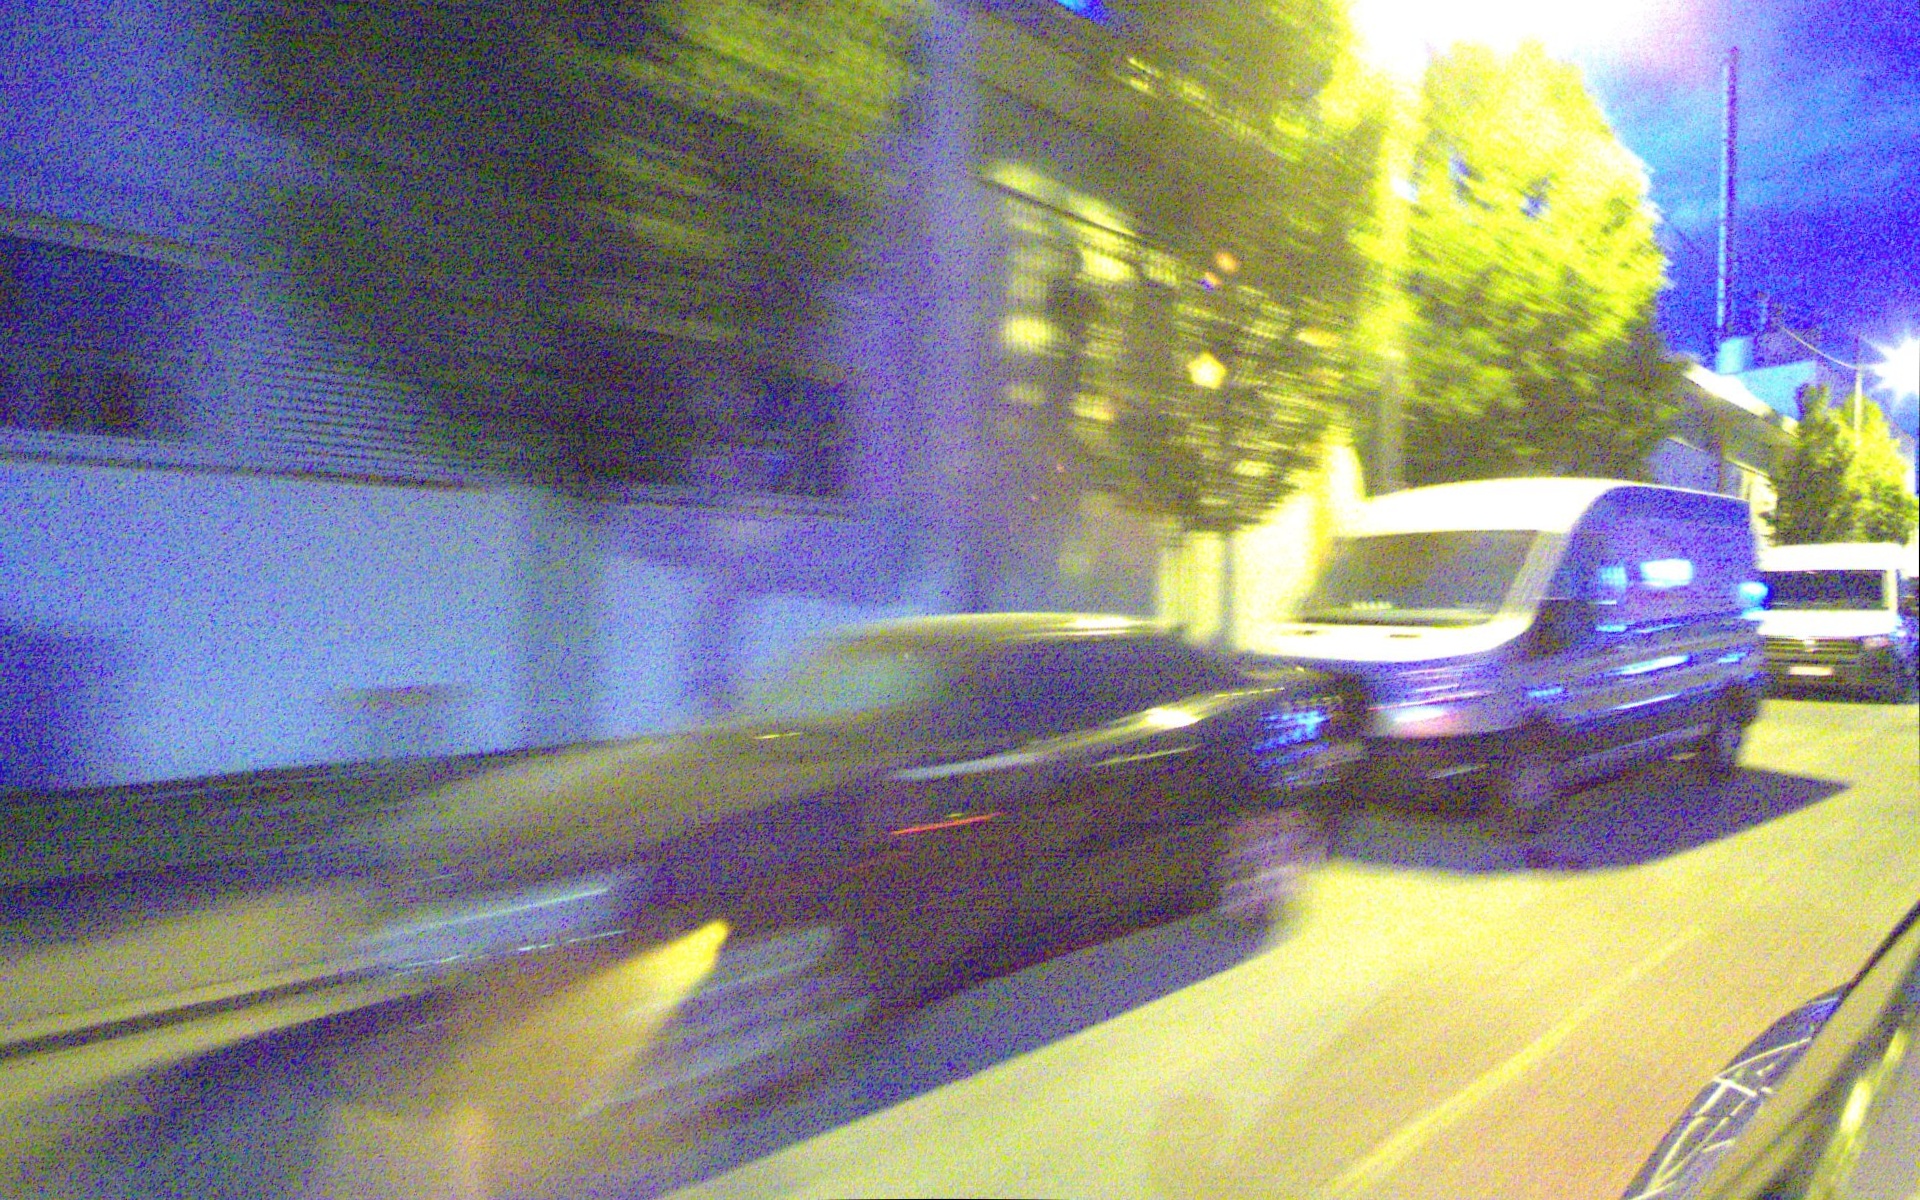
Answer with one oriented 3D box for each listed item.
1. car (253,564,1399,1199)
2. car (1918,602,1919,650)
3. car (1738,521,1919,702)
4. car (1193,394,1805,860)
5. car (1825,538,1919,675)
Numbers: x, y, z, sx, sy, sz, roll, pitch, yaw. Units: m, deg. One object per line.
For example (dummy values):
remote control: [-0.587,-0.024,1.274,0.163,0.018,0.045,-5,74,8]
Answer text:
car: [-0.179,0.628,4.223,4.466,1.430,1.774,0,1,-38]
car: [31.110,0.764,31.157,4.822,1.426,1.832,0,-2,-41]
car: [15.231,0.202,17.282,5.810,2.604,2.130,0,-2,-43]
car: [4.590,0.167,8.115,5.799,2.558,1.998,0,-2,-37]
car: [20.306,0.141,21.492,5.908,2.604,1.996,0,-2,-41]
